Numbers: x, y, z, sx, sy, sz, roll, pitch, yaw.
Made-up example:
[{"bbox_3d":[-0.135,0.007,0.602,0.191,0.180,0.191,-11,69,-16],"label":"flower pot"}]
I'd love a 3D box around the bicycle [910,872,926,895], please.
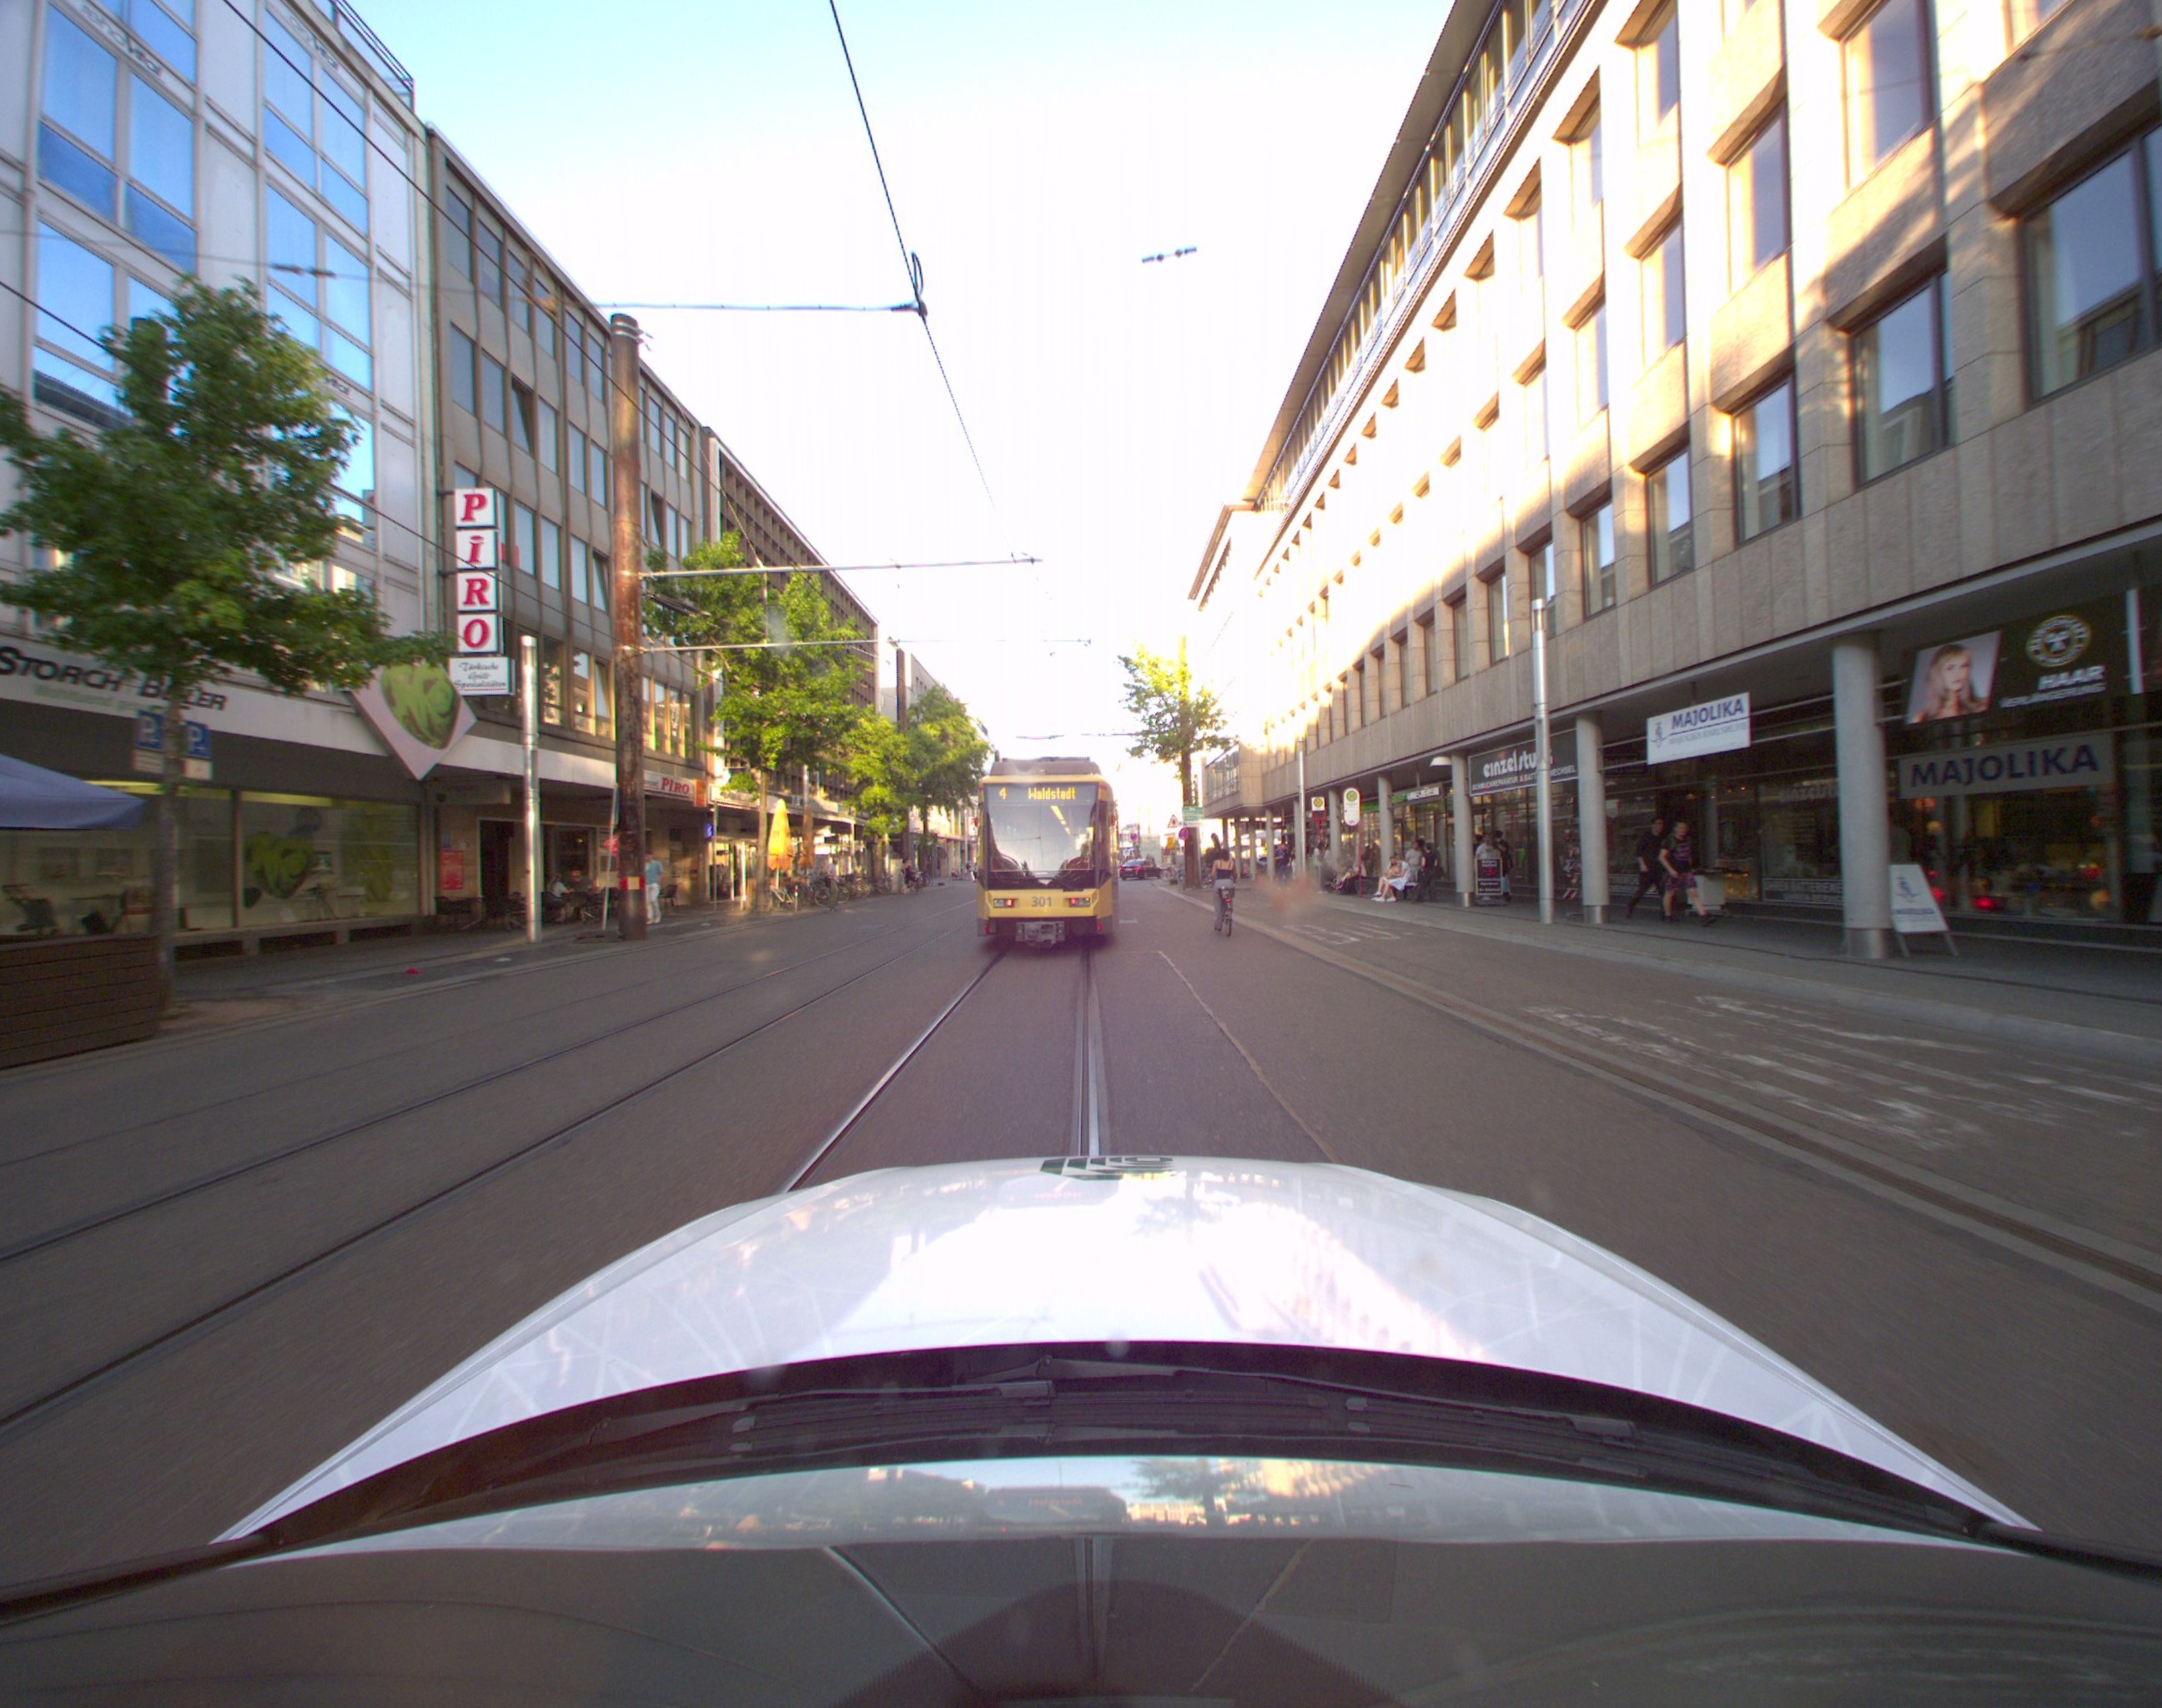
[{"bbox_3d":[-7.755,1.391,38.811,0.486,1.045,1.776,-1,0,-2],"label":"bicycle"}]

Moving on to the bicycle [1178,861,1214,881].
[{"bbox_3d":[6.825,1.001,48.303,1.912,1.078,0.762,-4,0,-5],"label":"bicycle"}]

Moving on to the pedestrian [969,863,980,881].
[{"bbox_3d":[-8.893,1.481,67.733,0.548,1.434,0.689,-3,-2,38],"label":"pedestrian"}]

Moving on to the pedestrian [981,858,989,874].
[{"bbox_3d":[-9.811,1.220,83.220,0.631,1.588,0.598,0,-2,-42],"label":"pedestrian"}]

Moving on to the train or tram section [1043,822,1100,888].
[{"bbox_3d":[-0.454,0.081,48.759,2.791,3.319,14.506,-2,0,0],"label":"train or tram section"}]

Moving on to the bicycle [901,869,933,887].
[{"bbox_3d":[-9.644,1.430,47.801,1.766,1.045,0.489,0,0,0],"label":"bicycle"}]

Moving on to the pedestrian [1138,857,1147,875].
[{"bbox_3d":[6.504,1.261,86.112,0.734,1.823,0.816,-1,-1,-14],"label":"pedestrian"}]

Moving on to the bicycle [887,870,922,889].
[{"bbox_3d":[-9.698,1.395,44.768,1.766,1.045,0.489,0,0,0],"label":"bicycle"}]

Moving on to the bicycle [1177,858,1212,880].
[{"bbox_3d":[6.832,0.900,49.050,1.912,1.222,0.762,-4,0,-5],"label":"bicycle"}]

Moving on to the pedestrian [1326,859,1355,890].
[{"bbox_3d":[8.829,0.688,27.702,0.810,1.042,0.544,-1,-1,2],"label":"pedestrian"}]

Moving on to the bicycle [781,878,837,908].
[{"bbox_3d":[-9.443,1.349,28.299,1.769,0.990,0.488,0,0,-6],"label":"bicycle"}]

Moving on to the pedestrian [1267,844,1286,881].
[{"bbox_3d":[9.989,0.434,41.611,0.666,1.839,0.880,-3,-1,0],"label":"pedestrian"}]

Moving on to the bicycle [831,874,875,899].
[{"bbox_3d":[-9.803,1.397,35.073,1.769,1.071,0.488,0,0,-6],"label":"bicycle"}]

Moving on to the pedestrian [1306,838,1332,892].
[{"bbox_3d":[8.311,0.390,28.477,0.637,1.839,0.668,-3,-1,1],"label":"pedestrian"}]

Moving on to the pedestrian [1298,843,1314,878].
[{"bbox_3d":[12.000,0.344,43.498,0.659,1.848,0.720,-3,-1,6],"label":"pedestrian"}]

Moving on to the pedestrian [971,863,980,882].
[{"bbox_3d":[-8.299,1.473,64.053,0.603,1.494,0.554,-2,-1,-8],"label":"pedestrian"}]

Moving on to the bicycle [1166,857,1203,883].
[{"bbox_3d":[5.854,0.895,46.255,1.912,1.333,0.724,-4,0,-5],"label":"bicycle"}]

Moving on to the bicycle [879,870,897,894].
[{"bbox_3d":[-9.125,1.324,38.621,0.486,1.045,1.776,-1,0,-2],"label":"bicycle"}]

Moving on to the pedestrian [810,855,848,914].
[{"bbox_3d":[-7.914,0.933,25.559,0.826,1.793,0.979,-1,-1,-36],"label":"pedestrian"}]

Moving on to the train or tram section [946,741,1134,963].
[{"bbox_3d":[-0.596,-0.015,19.722,2.791,3.319,14.506,-2,0,0],"label":"train or tram section"}]

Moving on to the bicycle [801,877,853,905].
[{"bbox_3d":[-9.422,1.372,30.239,1.769,0.990,0.488,0,0,-6],"label":"bicycle"}]

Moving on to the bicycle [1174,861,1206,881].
[{"bbox_3d":[6.739,1.037,50.584,1.848,1.109,0.666,-3,-1,-3],"label":"bicycle"}]

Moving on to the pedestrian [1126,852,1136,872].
[{"bbox_3d":[4.318,0.714,70.225,0.715,1.725,0.709,-2,-1,1],"label":"pedestrian"}]

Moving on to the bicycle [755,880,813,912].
[{"bbox_3d":[-9.389,1.322,25.743,1.758,0.966,0.491,0,-1,17],"label":"bicycle"}]

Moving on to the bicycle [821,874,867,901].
[{"bbox_3d":[-9.849,1.383,33.853,1.769,1.071,0.488,0,0,-6],"label":"bicycle"}]

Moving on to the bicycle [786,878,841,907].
[{"bbox_3d":[-9.445,1.355,28.827,1.769,0.990,0.488,0,0,-6],"label":"bicycle"}]

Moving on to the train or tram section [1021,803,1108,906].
[{"bbox_3d":[-0.522,0.031,34.261,2.791,3.319,14.506,-2,0,0],"label":"train or tram section"}]

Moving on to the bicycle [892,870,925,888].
[{"bbox_3d":[-9.706,1.409,45.917,1.766,1.045,0.489,0,0,0],"label":"bicycle"}]

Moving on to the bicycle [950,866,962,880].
[{"bbox_3d":[-10.572,1.628,69.050,0.496,1.107,1.803,-2,1,6],"label":"bicycle"}]

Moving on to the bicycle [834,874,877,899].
[{"bbox_3d":[-9.851,1.404,35.618,1.769,1.071,0.488,0,0,-6],"label":"bicycle"}]

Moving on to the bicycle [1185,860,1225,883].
[{"bbox_3d":[6.852,0.959,45.077,1.992,1.155,0.724,-4,0,-5],"label":"bicycle"}]

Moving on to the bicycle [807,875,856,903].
[{"bbox_3d":[-9.800,1.361,32.035,1.769,1.071,0.488,0,0,-6],"label":"bicycle"}]

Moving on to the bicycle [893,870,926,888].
[{"bbox_3d":[-9.700,1.412,46.160,1.766,1.045,0.489,0,0,0],"label":"bicycle"}]

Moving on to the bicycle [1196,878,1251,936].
[{"bbox_3d":[2.887,1.048,16.725,0.812,1.073,2.114,0,0,1],"label":"bicycle"}]

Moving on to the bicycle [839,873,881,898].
[{"bbox_3d":[-9.834,1.412,36.271,1.769,1.071,0.488,0,0,-6],"label":"bicycle"}]

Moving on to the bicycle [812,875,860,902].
[{"bbox_3d":[-9.813,1.368,32.612,1.769,1.071,0.488,0,0,-6],"label":"bicycle"}]

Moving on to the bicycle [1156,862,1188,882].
[{"bbox_3d":[5.650,1.096,50.491,1.848,1.109,0.666,-3,-1,-3],"label":"bicycle"}]

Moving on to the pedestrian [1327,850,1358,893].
[{"bbox_3d":[8.624,0.571,26.877,0.810,1.381,0.662,-1,-1,2],"label":"pedestrian"}]

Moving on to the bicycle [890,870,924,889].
[{"bbox_3d":[-9.689,1.402,45.339,1.766,1.045,0.489,0,0,0],"label":"bicycle"}]

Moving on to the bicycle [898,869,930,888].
[{"bbox_3d":[-9.688,1.424,47.221,1.766,1.045,0.489,0,0,0],"label":"bicycle"}]
